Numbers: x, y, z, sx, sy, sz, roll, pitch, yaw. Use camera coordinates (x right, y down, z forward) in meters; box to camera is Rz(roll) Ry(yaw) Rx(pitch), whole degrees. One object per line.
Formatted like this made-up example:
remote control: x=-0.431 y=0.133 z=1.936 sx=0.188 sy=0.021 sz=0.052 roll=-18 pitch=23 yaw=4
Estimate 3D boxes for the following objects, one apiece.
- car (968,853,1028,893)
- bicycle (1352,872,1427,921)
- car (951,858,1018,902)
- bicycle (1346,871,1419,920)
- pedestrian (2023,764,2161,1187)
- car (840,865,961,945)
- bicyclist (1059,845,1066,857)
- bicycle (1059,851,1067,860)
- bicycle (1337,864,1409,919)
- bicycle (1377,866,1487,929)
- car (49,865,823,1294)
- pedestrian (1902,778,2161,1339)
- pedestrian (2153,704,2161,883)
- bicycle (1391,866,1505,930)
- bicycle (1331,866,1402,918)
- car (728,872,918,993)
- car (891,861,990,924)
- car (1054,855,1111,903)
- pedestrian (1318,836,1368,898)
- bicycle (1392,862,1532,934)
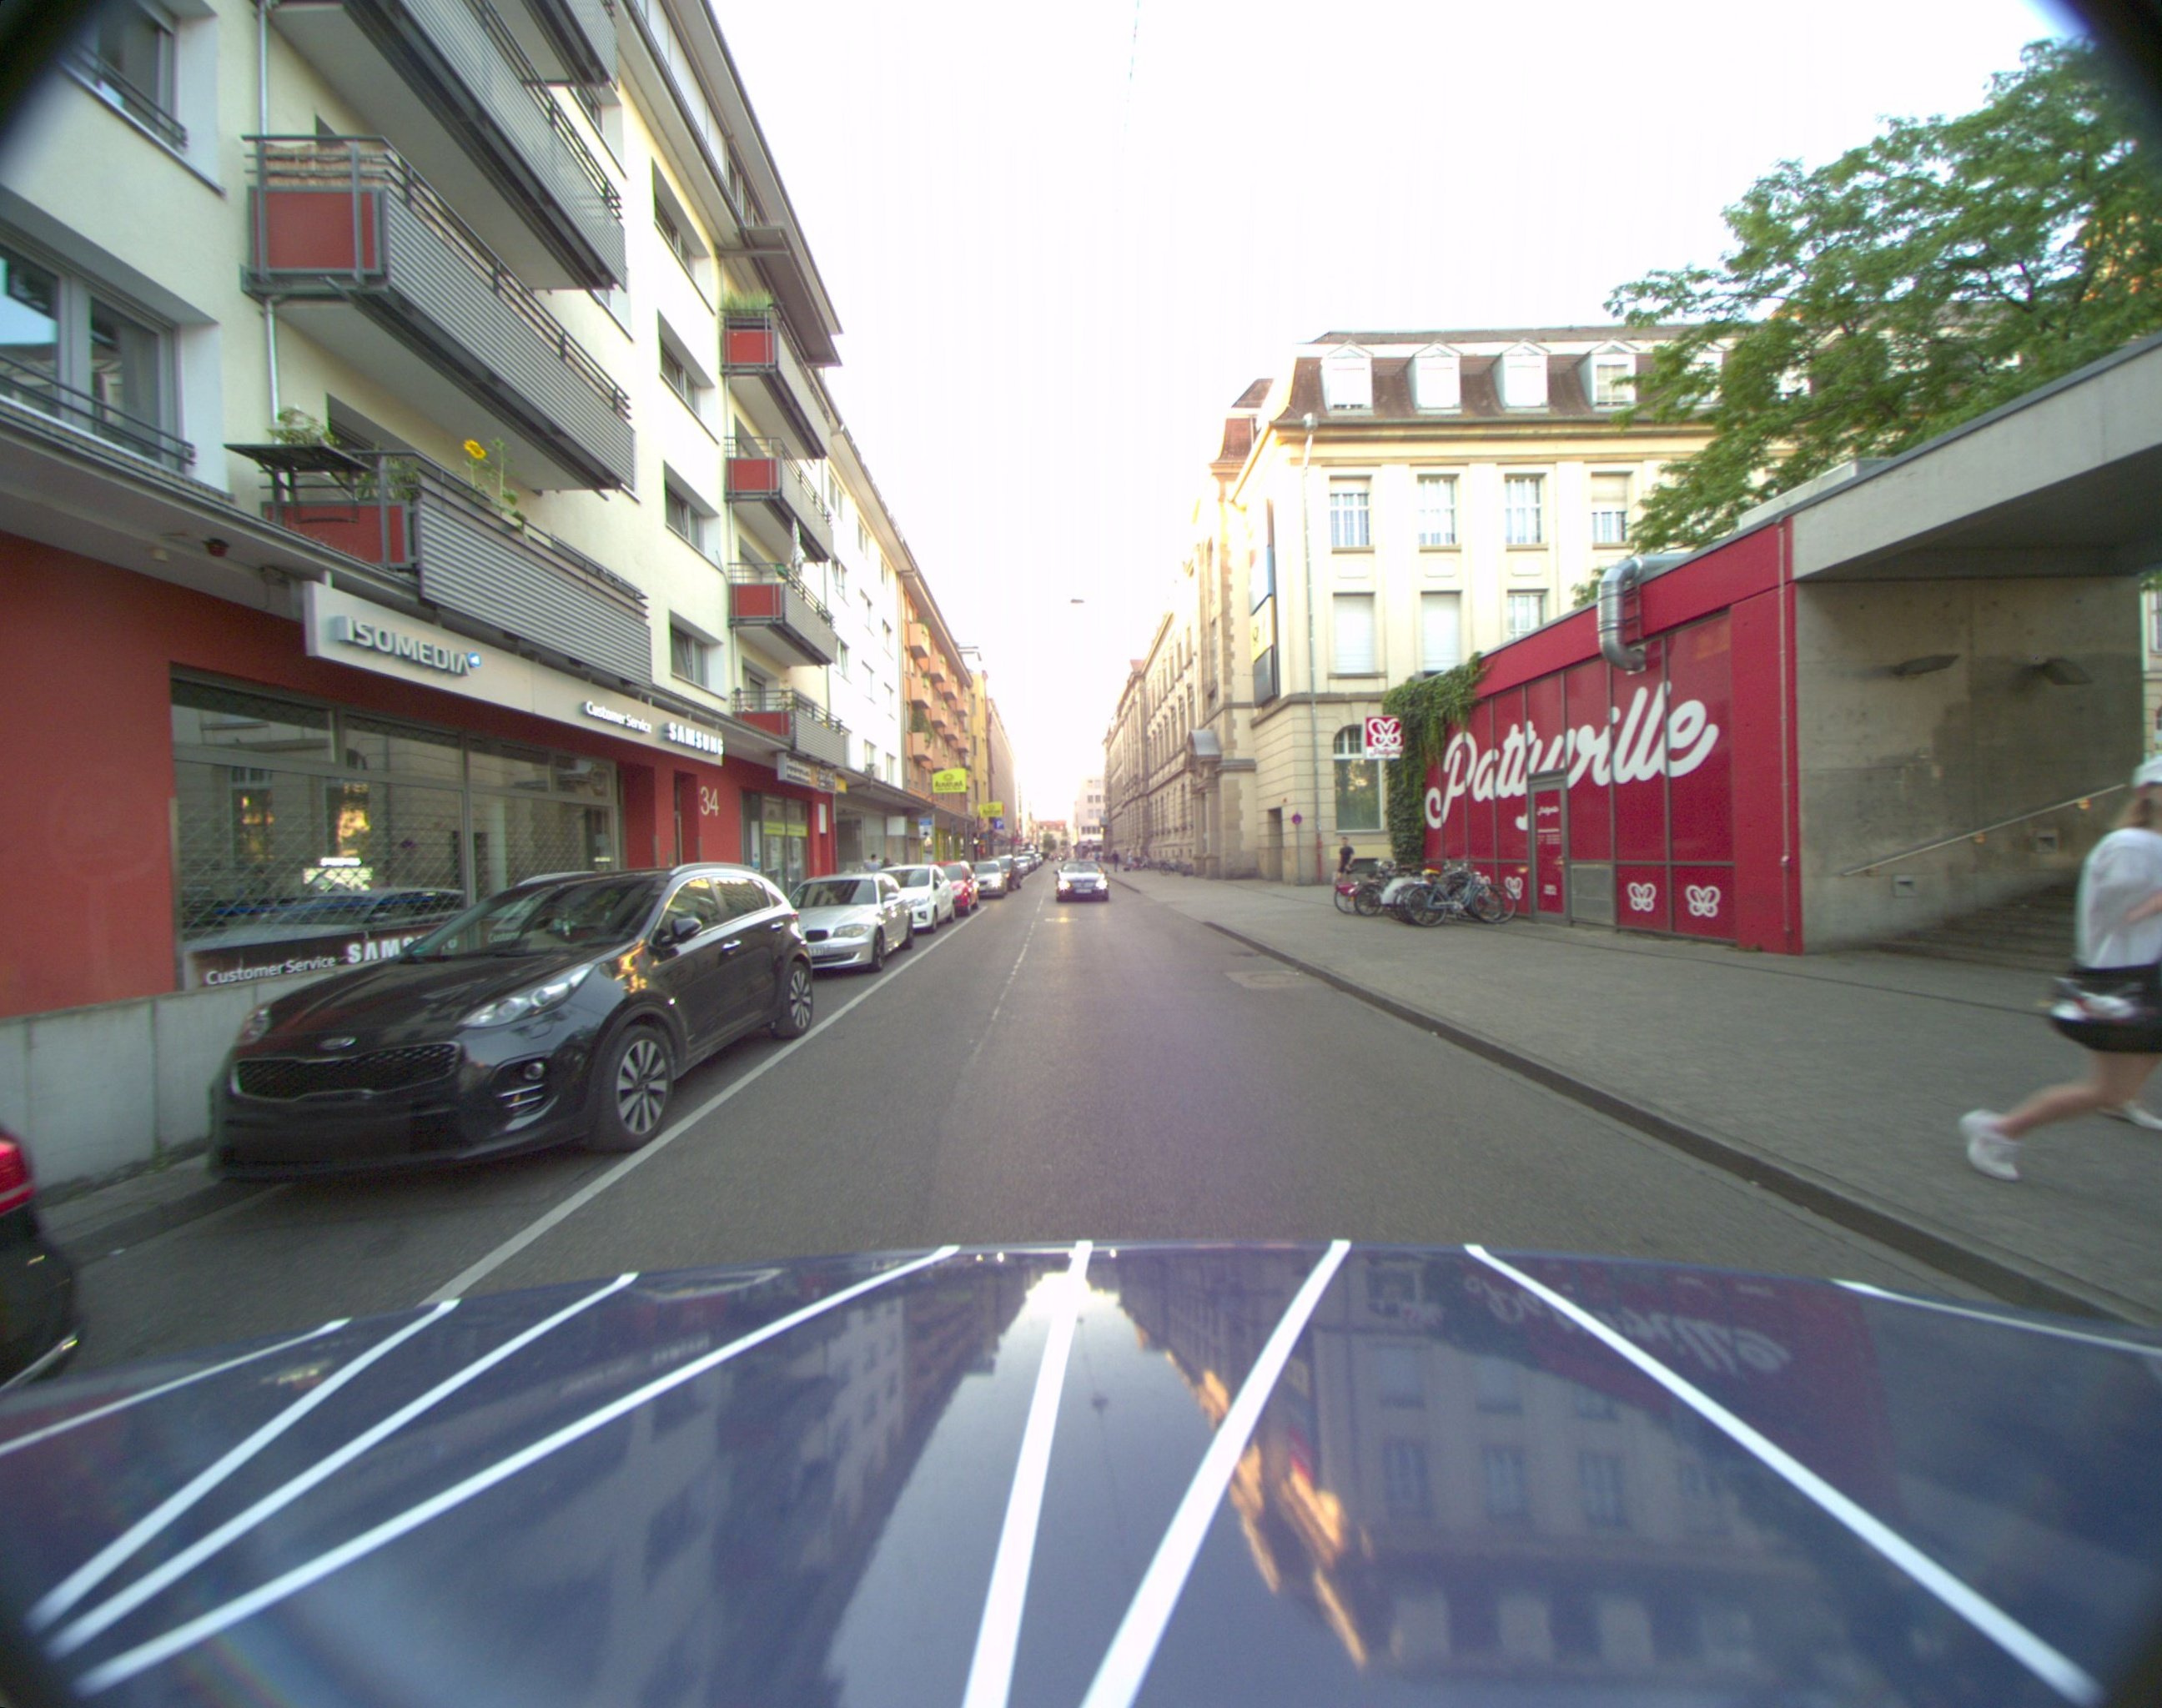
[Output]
car: x=-3.771 y=0.833 z=35.142 sx=1.998 sy=1.607 sz=4.367 roll=-3 pitch=0 yaw=3
bicycle: x=6.618 y=0.900 z=16.316 sx=1.501 sy=0.950 sz=0.312 roll=-3 pitch=1 yaw=-10
car: x=-3.655 y=0.944 z=29.418 sx=1.897 sy=1.468 sz=4.301 roll=-3 pitch=0 yaw=1
bicycle: x=6.588 y=0.903 z=16.627 sx=1.501 sy=0.973 sz=0.312 roll=-3 pitch=1 yaw=-10
pedestrian: x=4.923 y=0.495 z=3.246 sx=0.811 sy=1.783 sz=0.736 roll=-3 pitch=1 yaw=1
car: x=-3.961 y=1.054 z=17.307 sx=1.767 sy=1.468 sz=3.947 roll=-3 pitch=0 yaw=-1
bicyclist: x=-3.108 y=-0.487 z=126.971 sx=1.045 sy=2.002 sz=1.182 roll=-2 pitch=1 yaw=1
bicycle: x=-2.992 y=0.265 z=127.138 sx=1.038 sy=1.513 sz=2.822 roll=-2 pitch=1 yaw=3
bicycle: x=6.518 y=0.830 z=16.944 sx=1.501 sy=1.134 sz=0.312 roll=-3 pitch=1 yaw=-10
bicycle: x=6.632 y=0.819 z=14.394 sx=1.844 sy=1.077 sz=0.354 roll=-3 pitch=1 yaw=4
car: x=-3.489 y=1.006 z=5.371 sx=1.884 sy=1.689 sz=4.137 roll=-3 pitch=0 yaw=-1
pedestrian: x=3.821 y=0.631 z=2.673 sx=0.851 sy=1.783 sz=0.869 roll=-3 pitch=1 yaw=1
pedestrian: x=11.383 y=-0.613 z=7.439 sx=0.833 sy=1.816 sz=0.943 roll=-4 pitch=1 yaw=-38
bicycle: x=6.714 y=0.803 z=13.943 sx=1.844 sy=1.077 sz=0.354 roll=-3 pitch=1 yaw=4
bicycle: x=6.493 y=0.854 z=17.288 sx=1.501 sy=1.070 sz=0.312 roll=-3 pitch=1 yaw=-10
car: x=-3.794 y=1.072 z=11.923 sx=1.752 sy=1.395 sz=3.966 roll=-3 pitch=0 yaw=-3
car: x=-3.879 y=1.016 z=21.739 sx=1.866 sy=1.468 sz=4.394 roll=-3 pitch=0 yaw=1
car: x=0.073 y=0.809 z=26.472 sx=1.809 sy=1.399 sz=4.616 roll=-1 pitch=1 yaw=1
pedestrian: x=8.029 y=0.390 z=23.281 sx=1.009 sy=1.816 sz=0.944 roll=-4 pitch=1 yaw=-28
bicycle: x=6.786 y=0.783 z=13.576 sx=2.180 sy=1.149 sz=0.446 roll=-3 pitch=1 yaw=4
